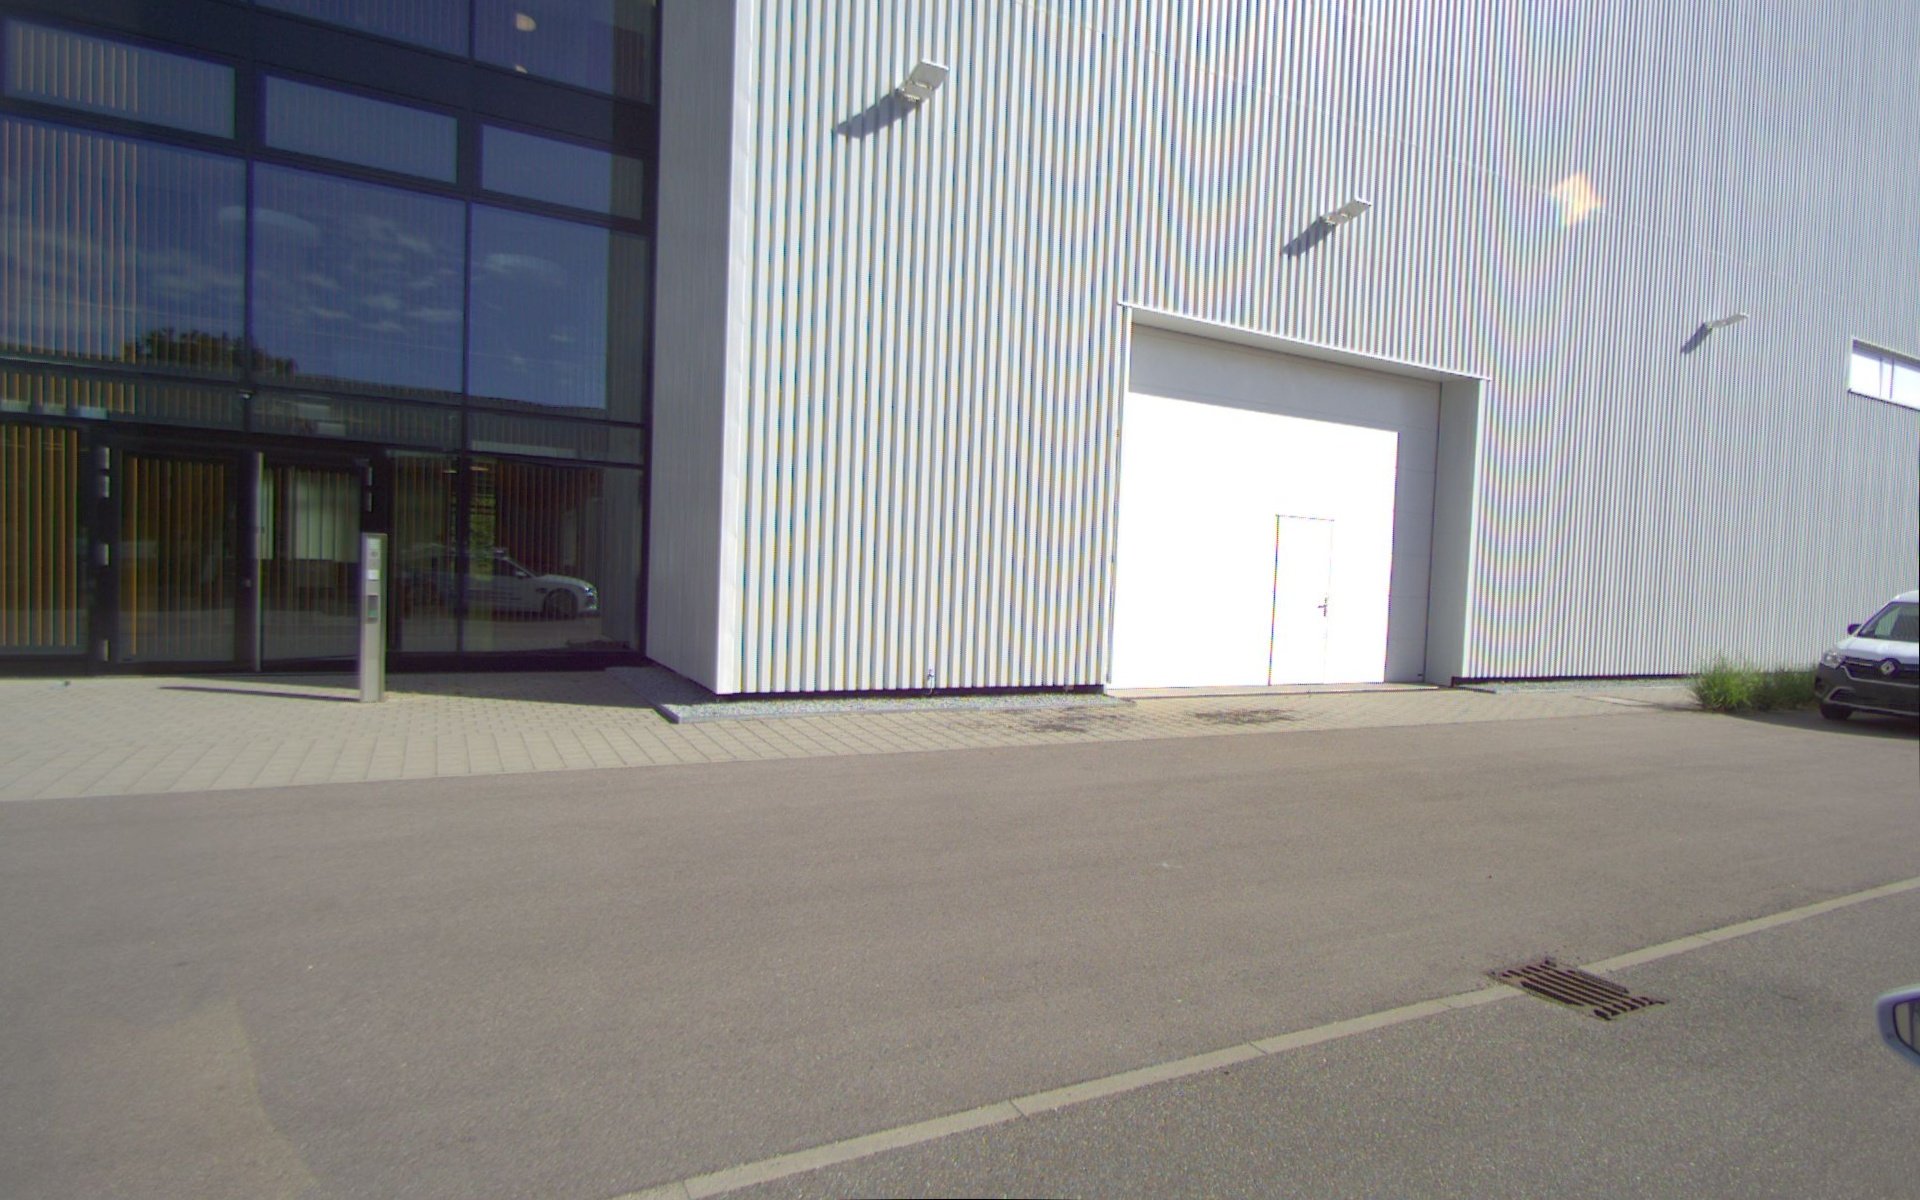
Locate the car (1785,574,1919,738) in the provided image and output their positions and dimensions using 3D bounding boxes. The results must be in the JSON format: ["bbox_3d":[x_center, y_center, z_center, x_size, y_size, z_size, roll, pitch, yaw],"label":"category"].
[{"bbox_3d":[13.072,0.719,13.201,4.305,1.870,1.882,1,4,-29],"label":"car"}]
